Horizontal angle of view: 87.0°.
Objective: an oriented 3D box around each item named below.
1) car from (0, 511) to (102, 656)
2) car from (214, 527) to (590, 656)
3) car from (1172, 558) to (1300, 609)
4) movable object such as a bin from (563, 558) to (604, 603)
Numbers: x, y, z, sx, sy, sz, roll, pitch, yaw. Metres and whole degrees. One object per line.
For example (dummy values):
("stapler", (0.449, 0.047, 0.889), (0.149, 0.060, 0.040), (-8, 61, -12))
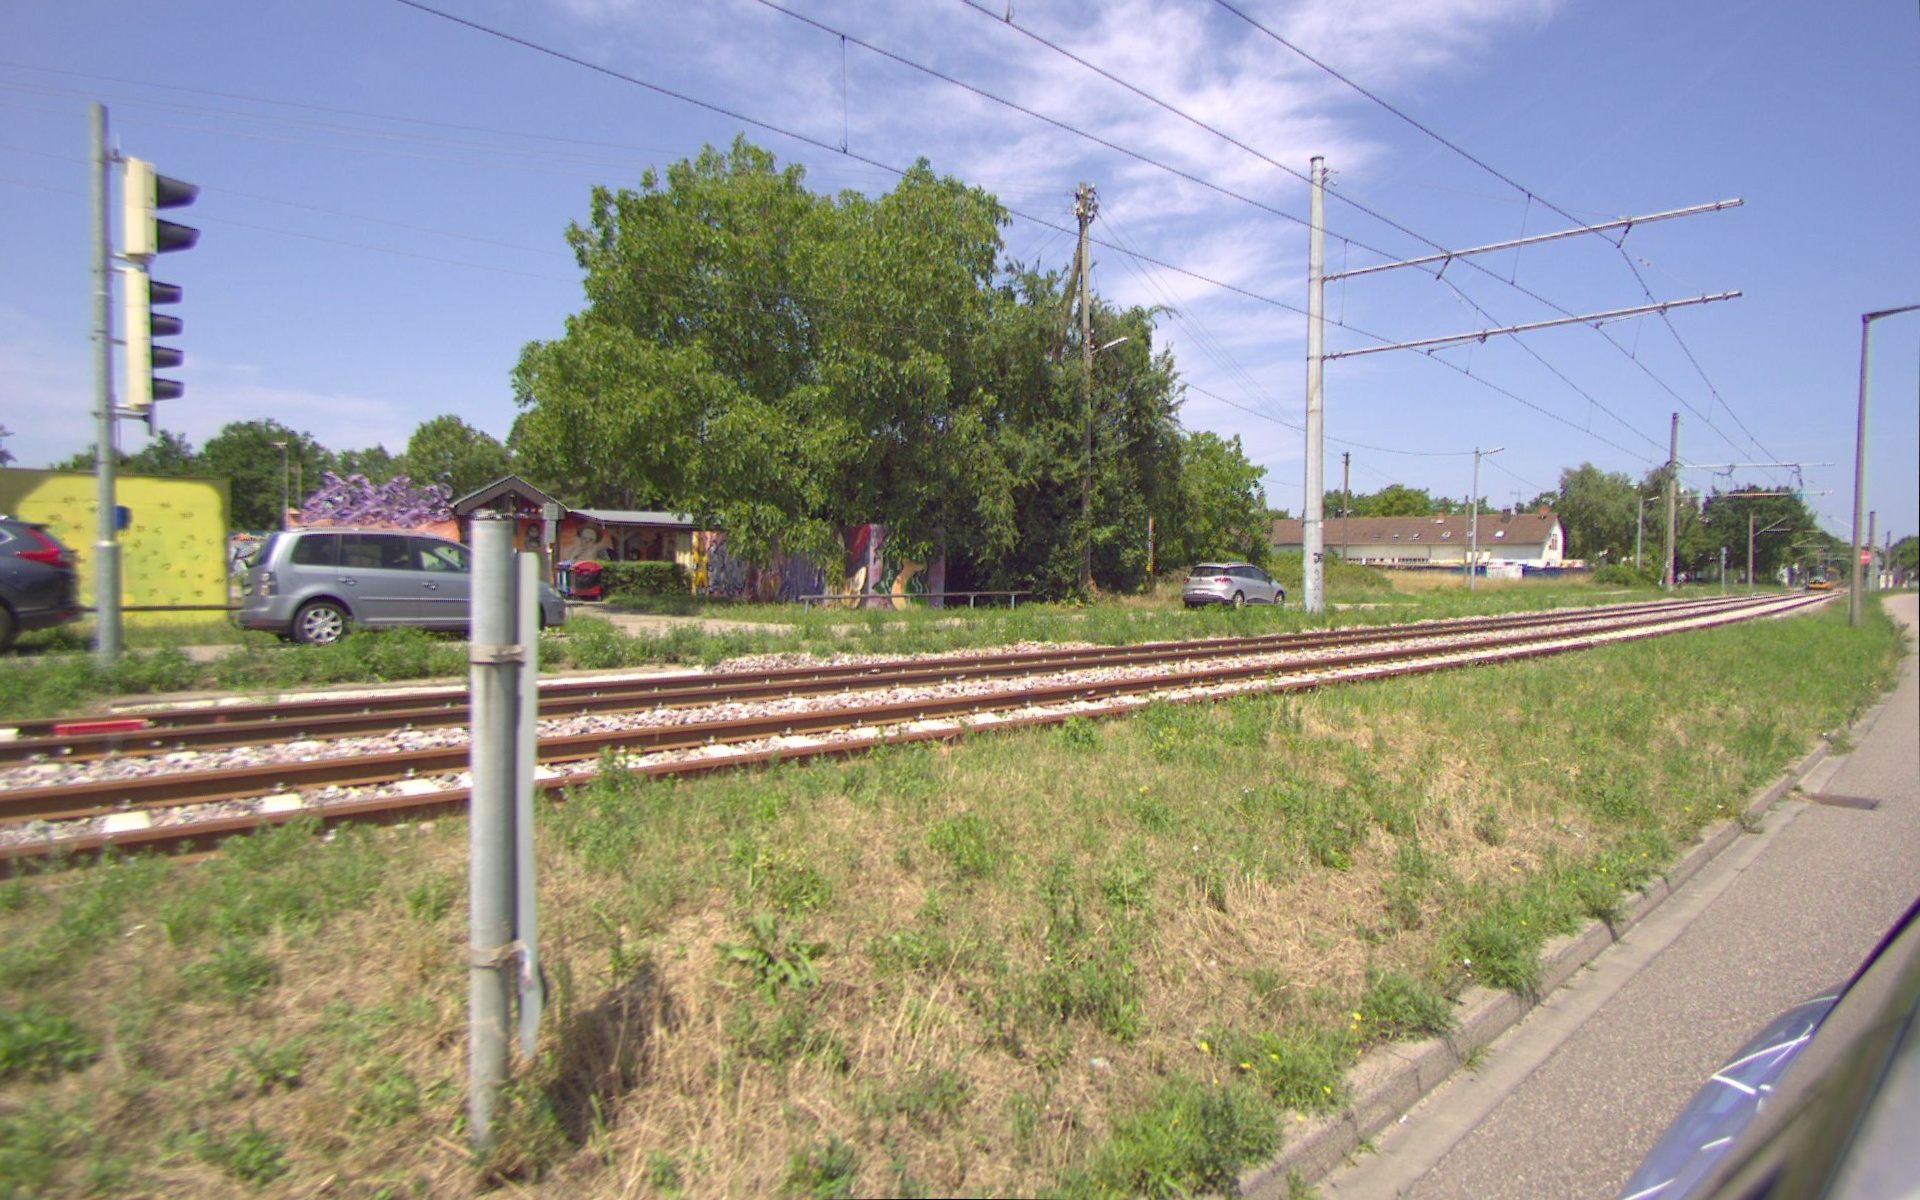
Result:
("car", (-12.783, -0.174, 11.386), (4.733, 1.677, 1.831), (-2, 3, -41))
("car", (-8.128, -0.203, 15.081), (4.635, 1.644, 1.678), (-2, 3, -44))
("car", (8.440, -0.559, 30.725), (4.474, 1.431, 1.682), (-2, 3, -43))
("movable object such as a bin", (-13.586, -0.708, 36.499), (1.225, 1.592, 0.920), (-1, 2, -30))
